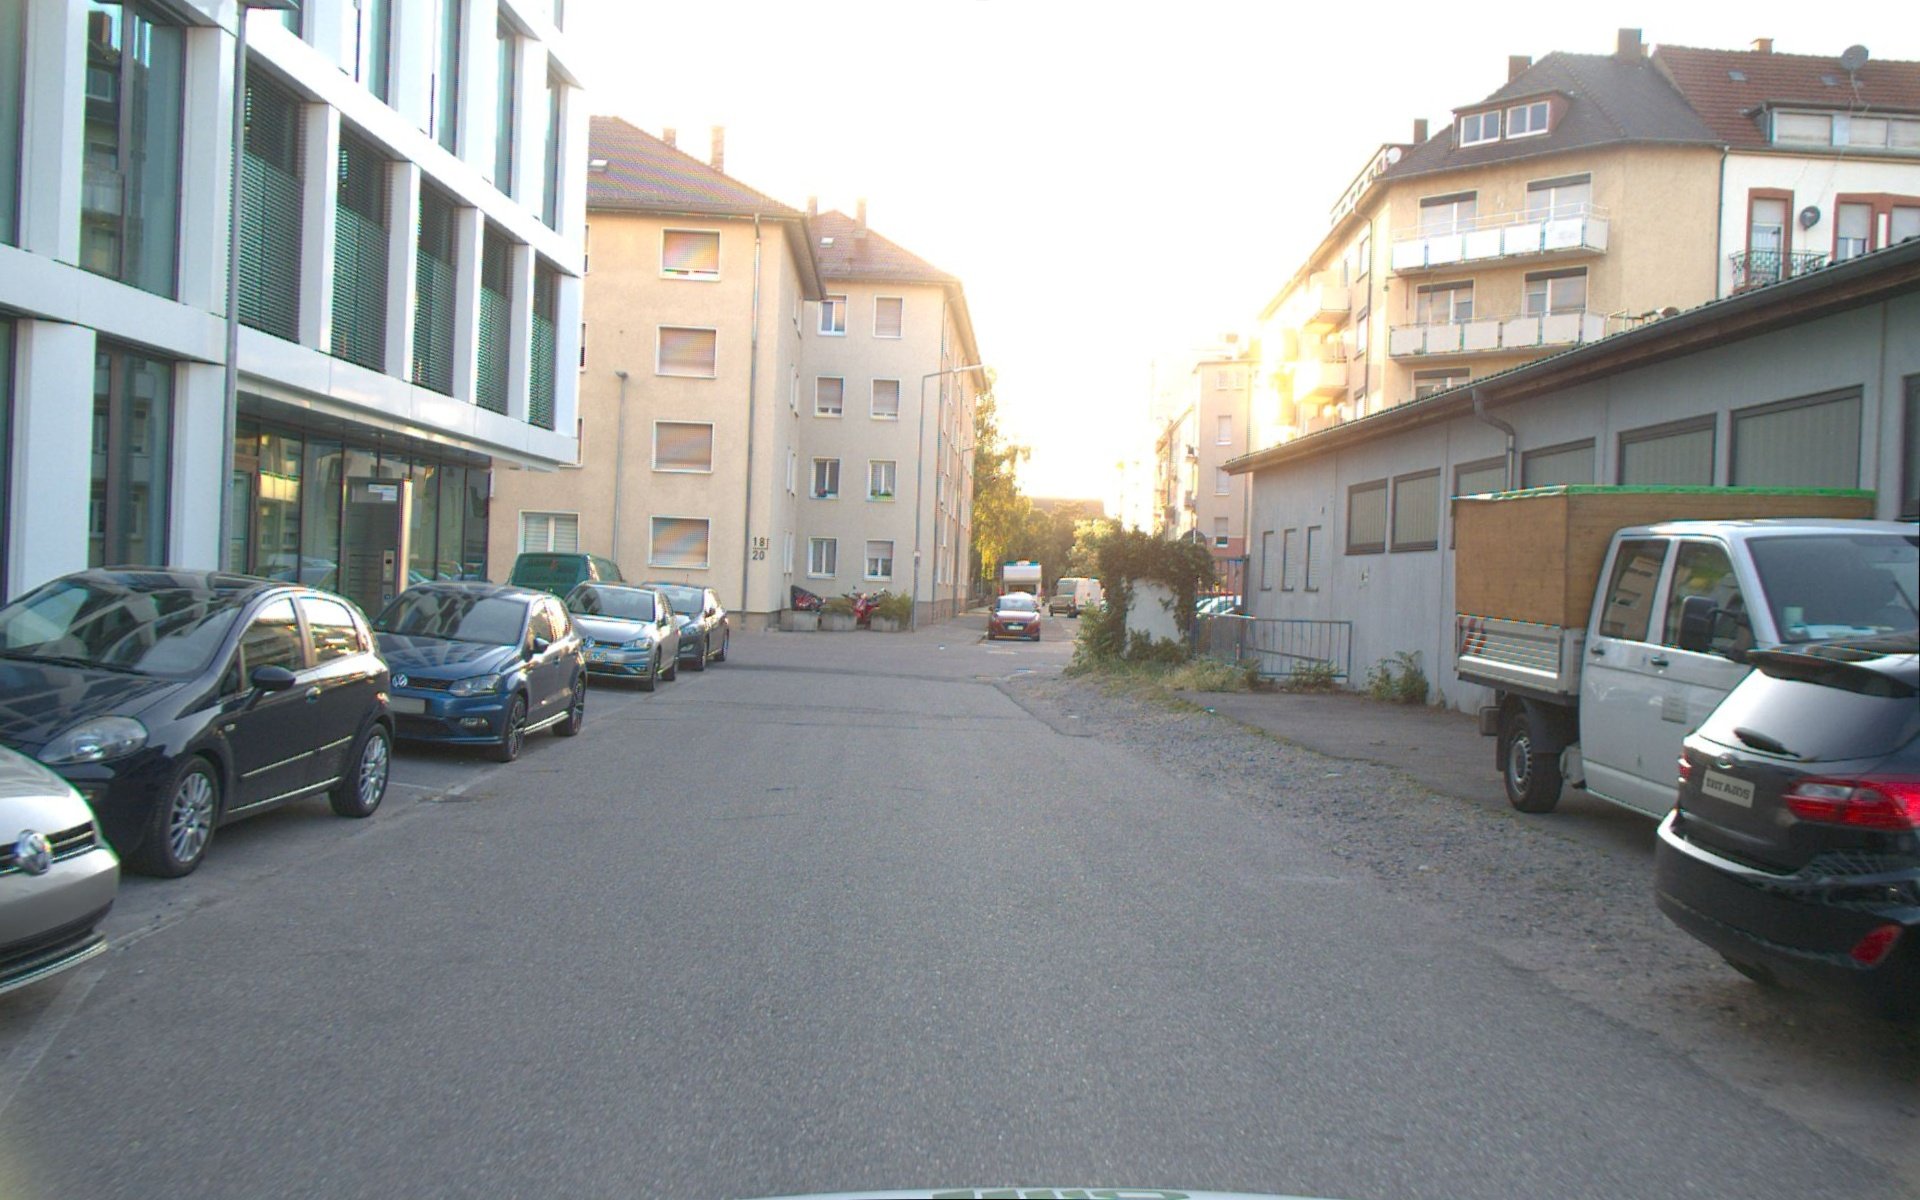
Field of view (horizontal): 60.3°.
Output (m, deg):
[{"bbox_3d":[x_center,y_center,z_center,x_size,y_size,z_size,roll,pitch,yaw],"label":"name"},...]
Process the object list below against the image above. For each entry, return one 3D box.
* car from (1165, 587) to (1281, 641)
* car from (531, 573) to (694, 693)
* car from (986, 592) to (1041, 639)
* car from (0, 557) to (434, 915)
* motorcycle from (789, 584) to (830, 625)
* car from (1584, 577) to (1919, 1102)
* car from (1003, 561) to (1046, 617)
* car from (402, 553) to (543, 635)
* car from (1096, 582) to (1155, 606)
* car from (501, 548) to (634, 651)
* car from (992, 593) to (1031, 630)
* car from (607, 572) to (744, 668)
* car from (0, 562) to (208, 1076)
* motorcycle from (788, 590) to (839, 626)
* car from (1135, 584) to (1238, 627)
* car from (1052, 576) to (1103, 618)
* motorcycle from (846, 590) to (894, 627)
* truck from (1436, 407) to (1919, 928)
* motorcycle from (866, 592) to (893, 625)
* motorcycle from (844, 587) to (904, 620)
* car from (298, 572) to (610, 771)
[{"bbox_3d":[10.050,0.515,63.516,4.190,1.893,1.742,2,0,3],"label":"car"},{"bbox_3d":[-5.138,0.430,24.940,1.677,1.504,4.182,5,1,-3],"label":"car"},{"bbox_3d":[1.824,0.514,57.227,1.807,1.499,4.079,2,0,1],"label":"car"},{"bbox_3d":[-4.546,0.568,9.429,1.615,1.463,4.202,5,1,0],"label":"car"},{"bbox_3d":[-5.007,0.143,55.003,0.708,1.286,2.082,2,0,13],"label":"motorcycle"},{"bbox_3d":[4.475,0.800,5.966,3.682,1.562,1.892,3,1,0],"label":"car"},{"bbox_3d":[4.051,-0.709,102.559,2.565,3.326,7.700,0,0,3],"label":"car"},{"bbox_3d":[-10.425,-0.079,35.713,1.743,1.577,4.330,2,-1,-1],"label":"car"},{"bbox_3d":[11.345,-0.416,113.319,3.904,1.557,1.659,1,0,2],"label":"car"},{"bbox_3d":[-8.381,-0.060,35.716,1.761,2.014,4.689,2,1,-1],"label":"car"},{"bbox_3d":[2.168,0.458,70.028,1.582,1.499,3.505,0,0,1],"label":"car"},{"bbox_3d":[-5.254,0.325,31.057,1.744,1.504,4.330,5,1,-1],"label":"car"},{"bbox_3d":[-4.801,0.575,5.408,3.845,1.537,1.688,3,1,2],"label":"car"},{"bbox_3d":[-4.655,0.271,52.715,0.709,1.098,2.080,2,0,23],"label":"motorcycle"},{"bbox_3d":[10.624,0.256,77.930,4.624,1.943,2.060,0,0,2],"label":"car"},{"bbox_3d":[7.888,-0.220,111.538,2.092,2.765,4.817,0,0,-13],"label":"car"},{"bbox_3d":[-2.997,0.280,55.190,0.675,1.180,2.032,2,0,26],"label":"motorcycle"},{"bbox_3d":[4.808,0.299,10.025,2.055,2.239,5.710,2,0,-1],"label":"truck"},{"bbox_3d":[-2.792,0.299,57.507,0.668,1.098,2.035,2,0,4],"label":"motorcycle"},{"bbox_3d":[-3.102,0.124,59.717,2.078,1.124,0.561,2,0,14],"label":"motorcycle"},{"bbox_3d":[-4.535,0.554,15.470,1.615,1.463,4.183,5,1,-2],"label":"car"}]
